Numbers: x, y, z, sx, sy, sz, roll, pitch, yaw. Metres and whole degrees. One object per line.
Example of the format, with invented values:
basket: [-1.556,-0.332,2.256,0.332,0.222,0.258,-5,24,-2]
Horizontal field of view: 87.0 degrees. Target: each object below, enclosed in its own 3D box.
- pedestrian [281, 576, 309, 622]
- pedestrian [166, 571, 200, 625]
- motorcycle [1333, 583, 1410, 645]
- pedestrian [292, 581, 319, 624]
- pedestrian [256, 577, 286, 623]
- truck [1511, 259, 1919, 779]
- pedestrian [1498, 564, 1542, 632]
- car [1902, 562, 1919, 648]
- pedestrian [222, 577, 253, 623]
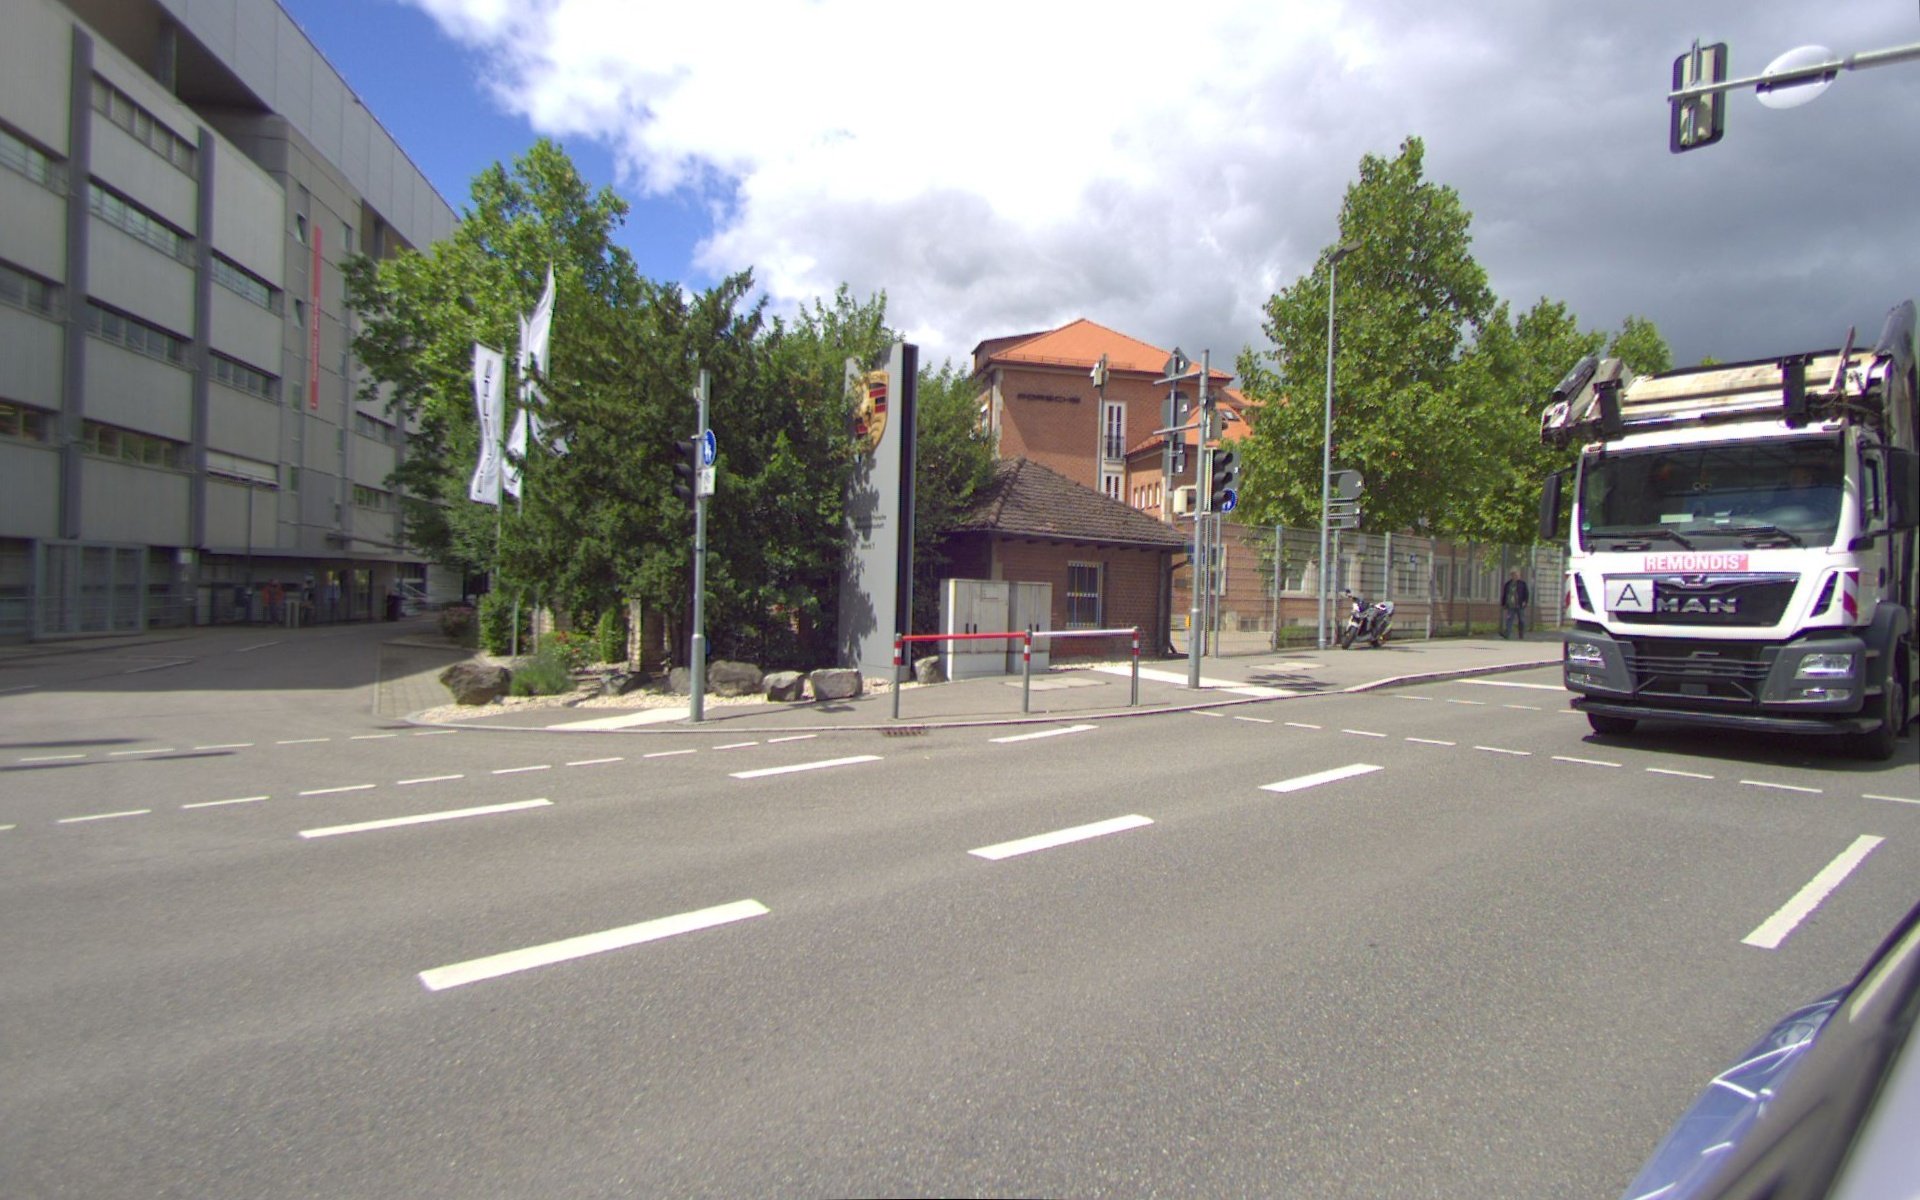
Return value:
pedestrian: [-25.303,-0.041,38.511,0.739,1.714,0.747,0,0,-18]
pedestrian: [-27.789,-0.070,36.215,0.739,1.913,0.747,0,0,-18]
motorcycle: [8.724,0.261,21.408,2.138,1.241,0.570,-1,3,-41]
pedestrian: [-26.181,0.102,40.515,0.739,1.714,0.747,0,0,-18]
pedestrian: [-26.060,-0.002,38.300,0.739,1.714,0.747,0,0,-18]
truck: [10.148,-0.678,12.168,10.555,3.934,2.710,-1,0,-41]
pedestrian: [14.868,-0.059,26.855,0.998,1.788,0.728,0,0,-41]
car: [24.108,0.073,24.121,4.628,1.980,1.870,-1,0,-40]
pedestrian: [-27.116,0.008,37.981,0.739,1.714,0.747,0,0,-18]
